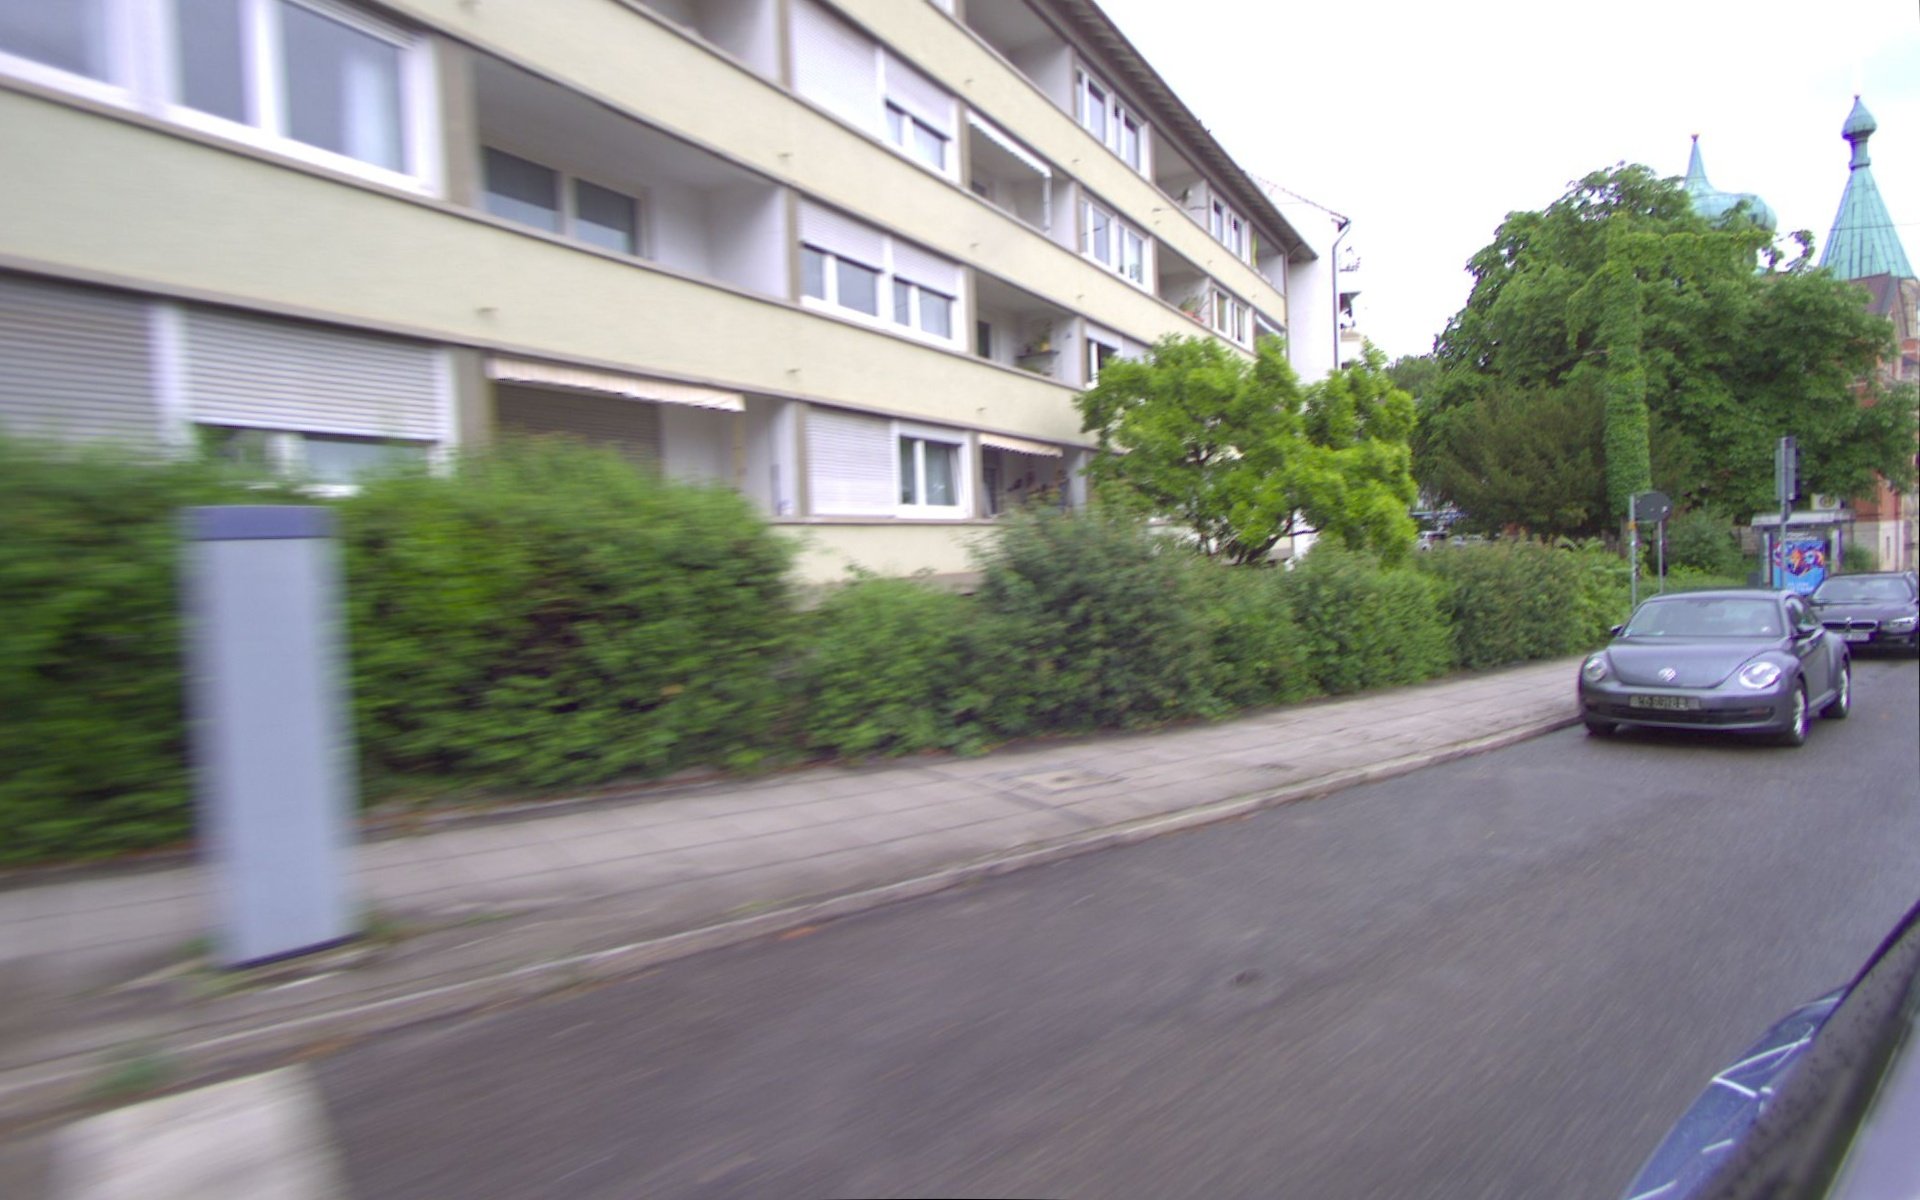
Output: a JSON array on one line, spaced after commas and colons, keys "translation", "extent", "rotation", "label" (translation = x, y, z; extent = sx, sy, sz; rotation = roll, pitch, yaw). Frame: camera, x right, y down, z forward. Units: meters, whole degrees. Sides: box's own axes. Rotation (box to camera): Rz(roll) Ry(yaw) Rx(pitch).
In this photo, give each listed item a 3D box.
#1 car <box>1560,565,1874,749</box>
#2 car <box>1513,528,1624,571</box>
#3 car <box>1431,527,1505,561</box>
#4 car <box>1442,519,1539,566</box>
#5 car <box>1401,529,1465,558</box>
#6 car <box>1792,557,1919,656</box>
[{"translation": [8.209, 0.451, 10.836], "extent": [4.136, 1.482, 1.942], "rotation": [-4, 2, -42], "label": "car"}, {"translation": [24.505, -2.024, 40.949], "extent": [1.808, 1.577, 4.386], "rotation": [-3, 2, 1], "label": "car"}, {"translation": [25.647, -2.807, 51.214], "extent": [1.808, 1.583, 3.995], "rotation": [-3, 2, 3], "label": "car"}, {"translation": [21.492, -2.292, 41.163], "extent": [1.808, 1.716, 4.201], "rotation": [-3, 2, 3], "label": "car"}, {"translation": [25.858, -3.066, 55.458], "extent": [1.711, 1.462, 3.836], "rotation": [-3, 2, 2], "label": "car"}, {"translation": [16.689, 0.042, 18.293], "extent": [4.567, 1.505, 1.860], "rotation": [-4, 2, -42], "label": "car"}]
